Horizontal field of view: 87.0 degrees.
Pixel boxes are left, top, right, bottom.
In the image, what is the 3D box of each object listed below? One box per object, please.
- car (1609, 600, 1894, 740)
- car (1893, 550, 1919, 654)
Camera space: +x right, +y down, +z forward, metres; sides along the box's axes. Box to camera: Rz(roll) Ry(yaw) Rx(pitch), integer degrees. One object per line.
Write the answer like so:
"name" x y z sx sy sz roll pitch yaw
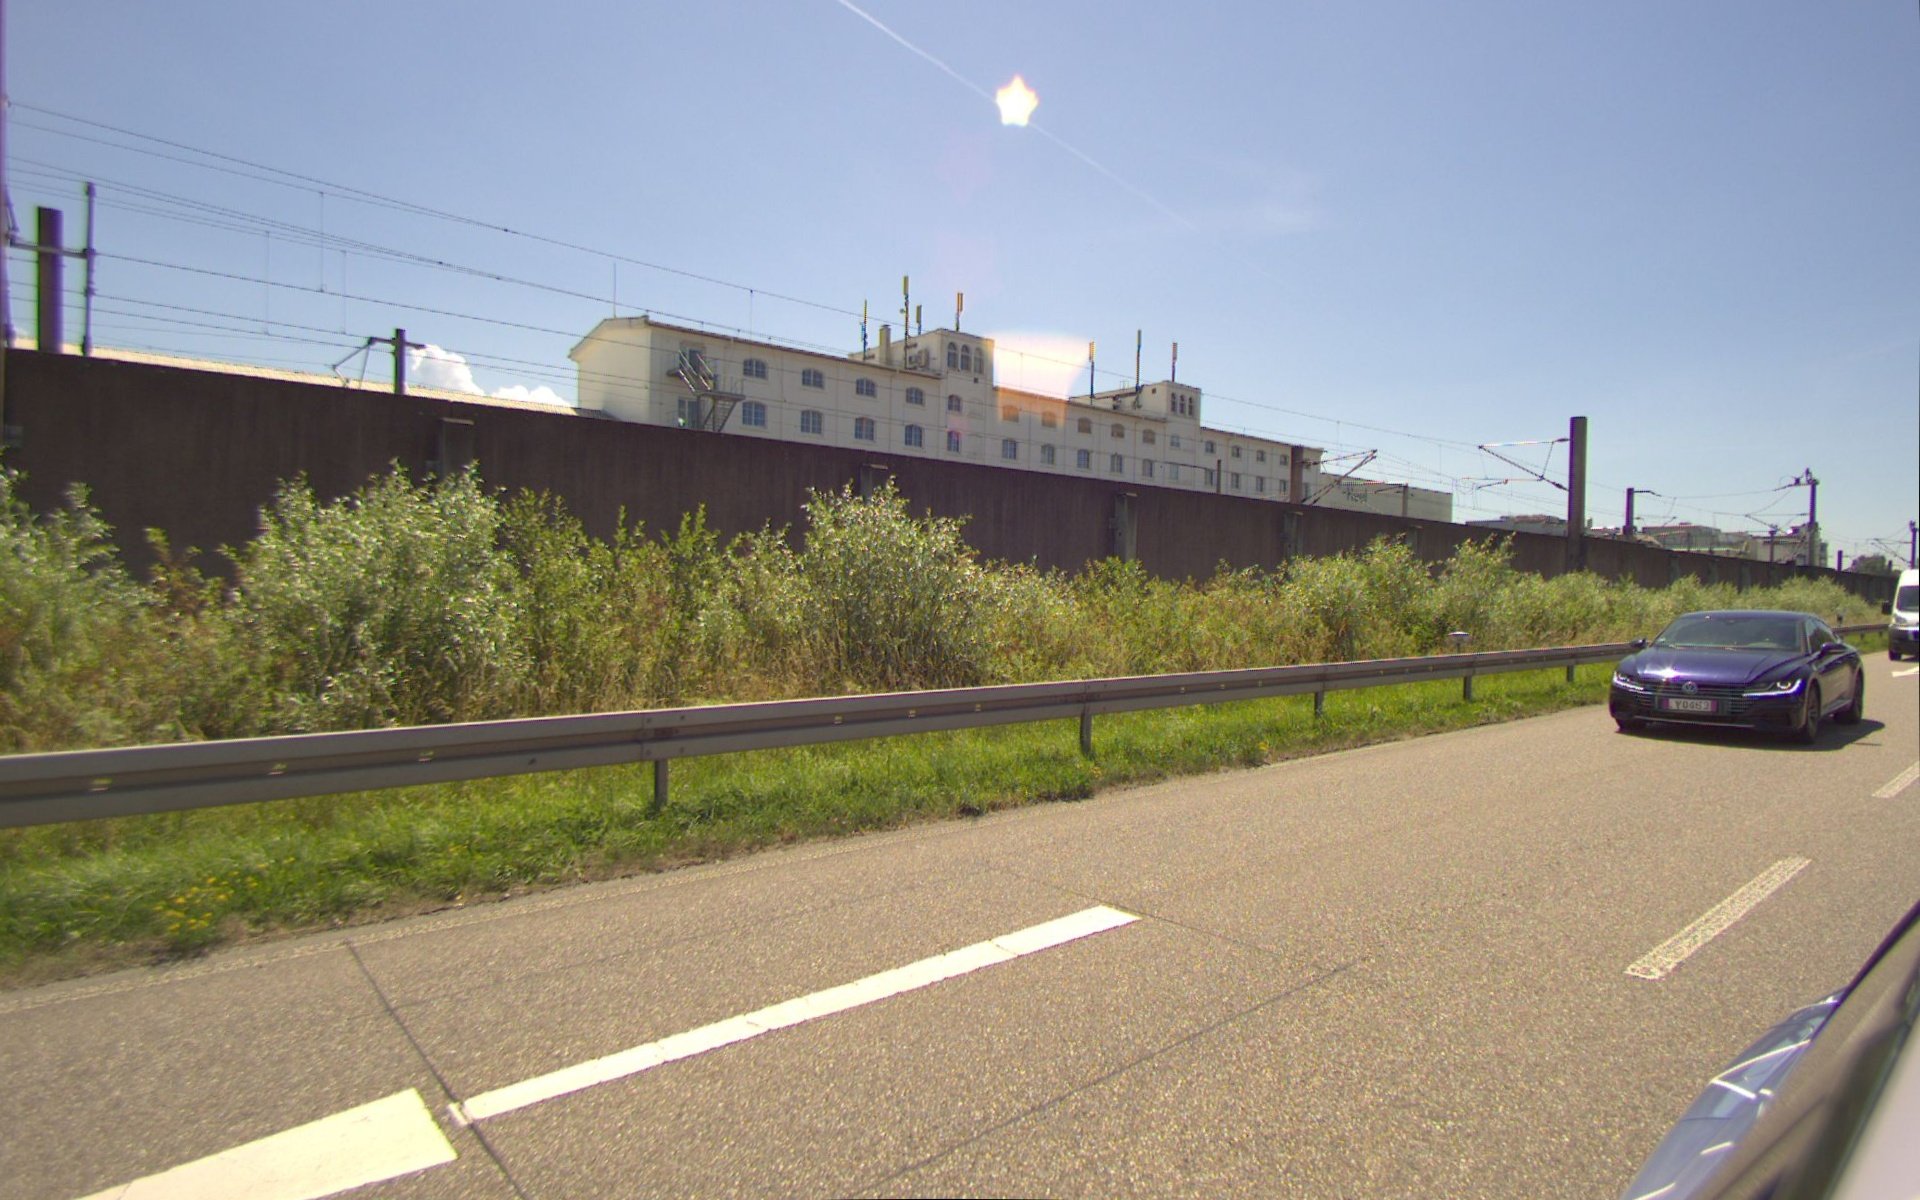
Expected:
"car" 9.735 0.708 12.320 4.423 1.397 1.860 0 0 -40
"car" 27.196 0.050 27.297 6.631 2.637 2.192 0 -1 -41
